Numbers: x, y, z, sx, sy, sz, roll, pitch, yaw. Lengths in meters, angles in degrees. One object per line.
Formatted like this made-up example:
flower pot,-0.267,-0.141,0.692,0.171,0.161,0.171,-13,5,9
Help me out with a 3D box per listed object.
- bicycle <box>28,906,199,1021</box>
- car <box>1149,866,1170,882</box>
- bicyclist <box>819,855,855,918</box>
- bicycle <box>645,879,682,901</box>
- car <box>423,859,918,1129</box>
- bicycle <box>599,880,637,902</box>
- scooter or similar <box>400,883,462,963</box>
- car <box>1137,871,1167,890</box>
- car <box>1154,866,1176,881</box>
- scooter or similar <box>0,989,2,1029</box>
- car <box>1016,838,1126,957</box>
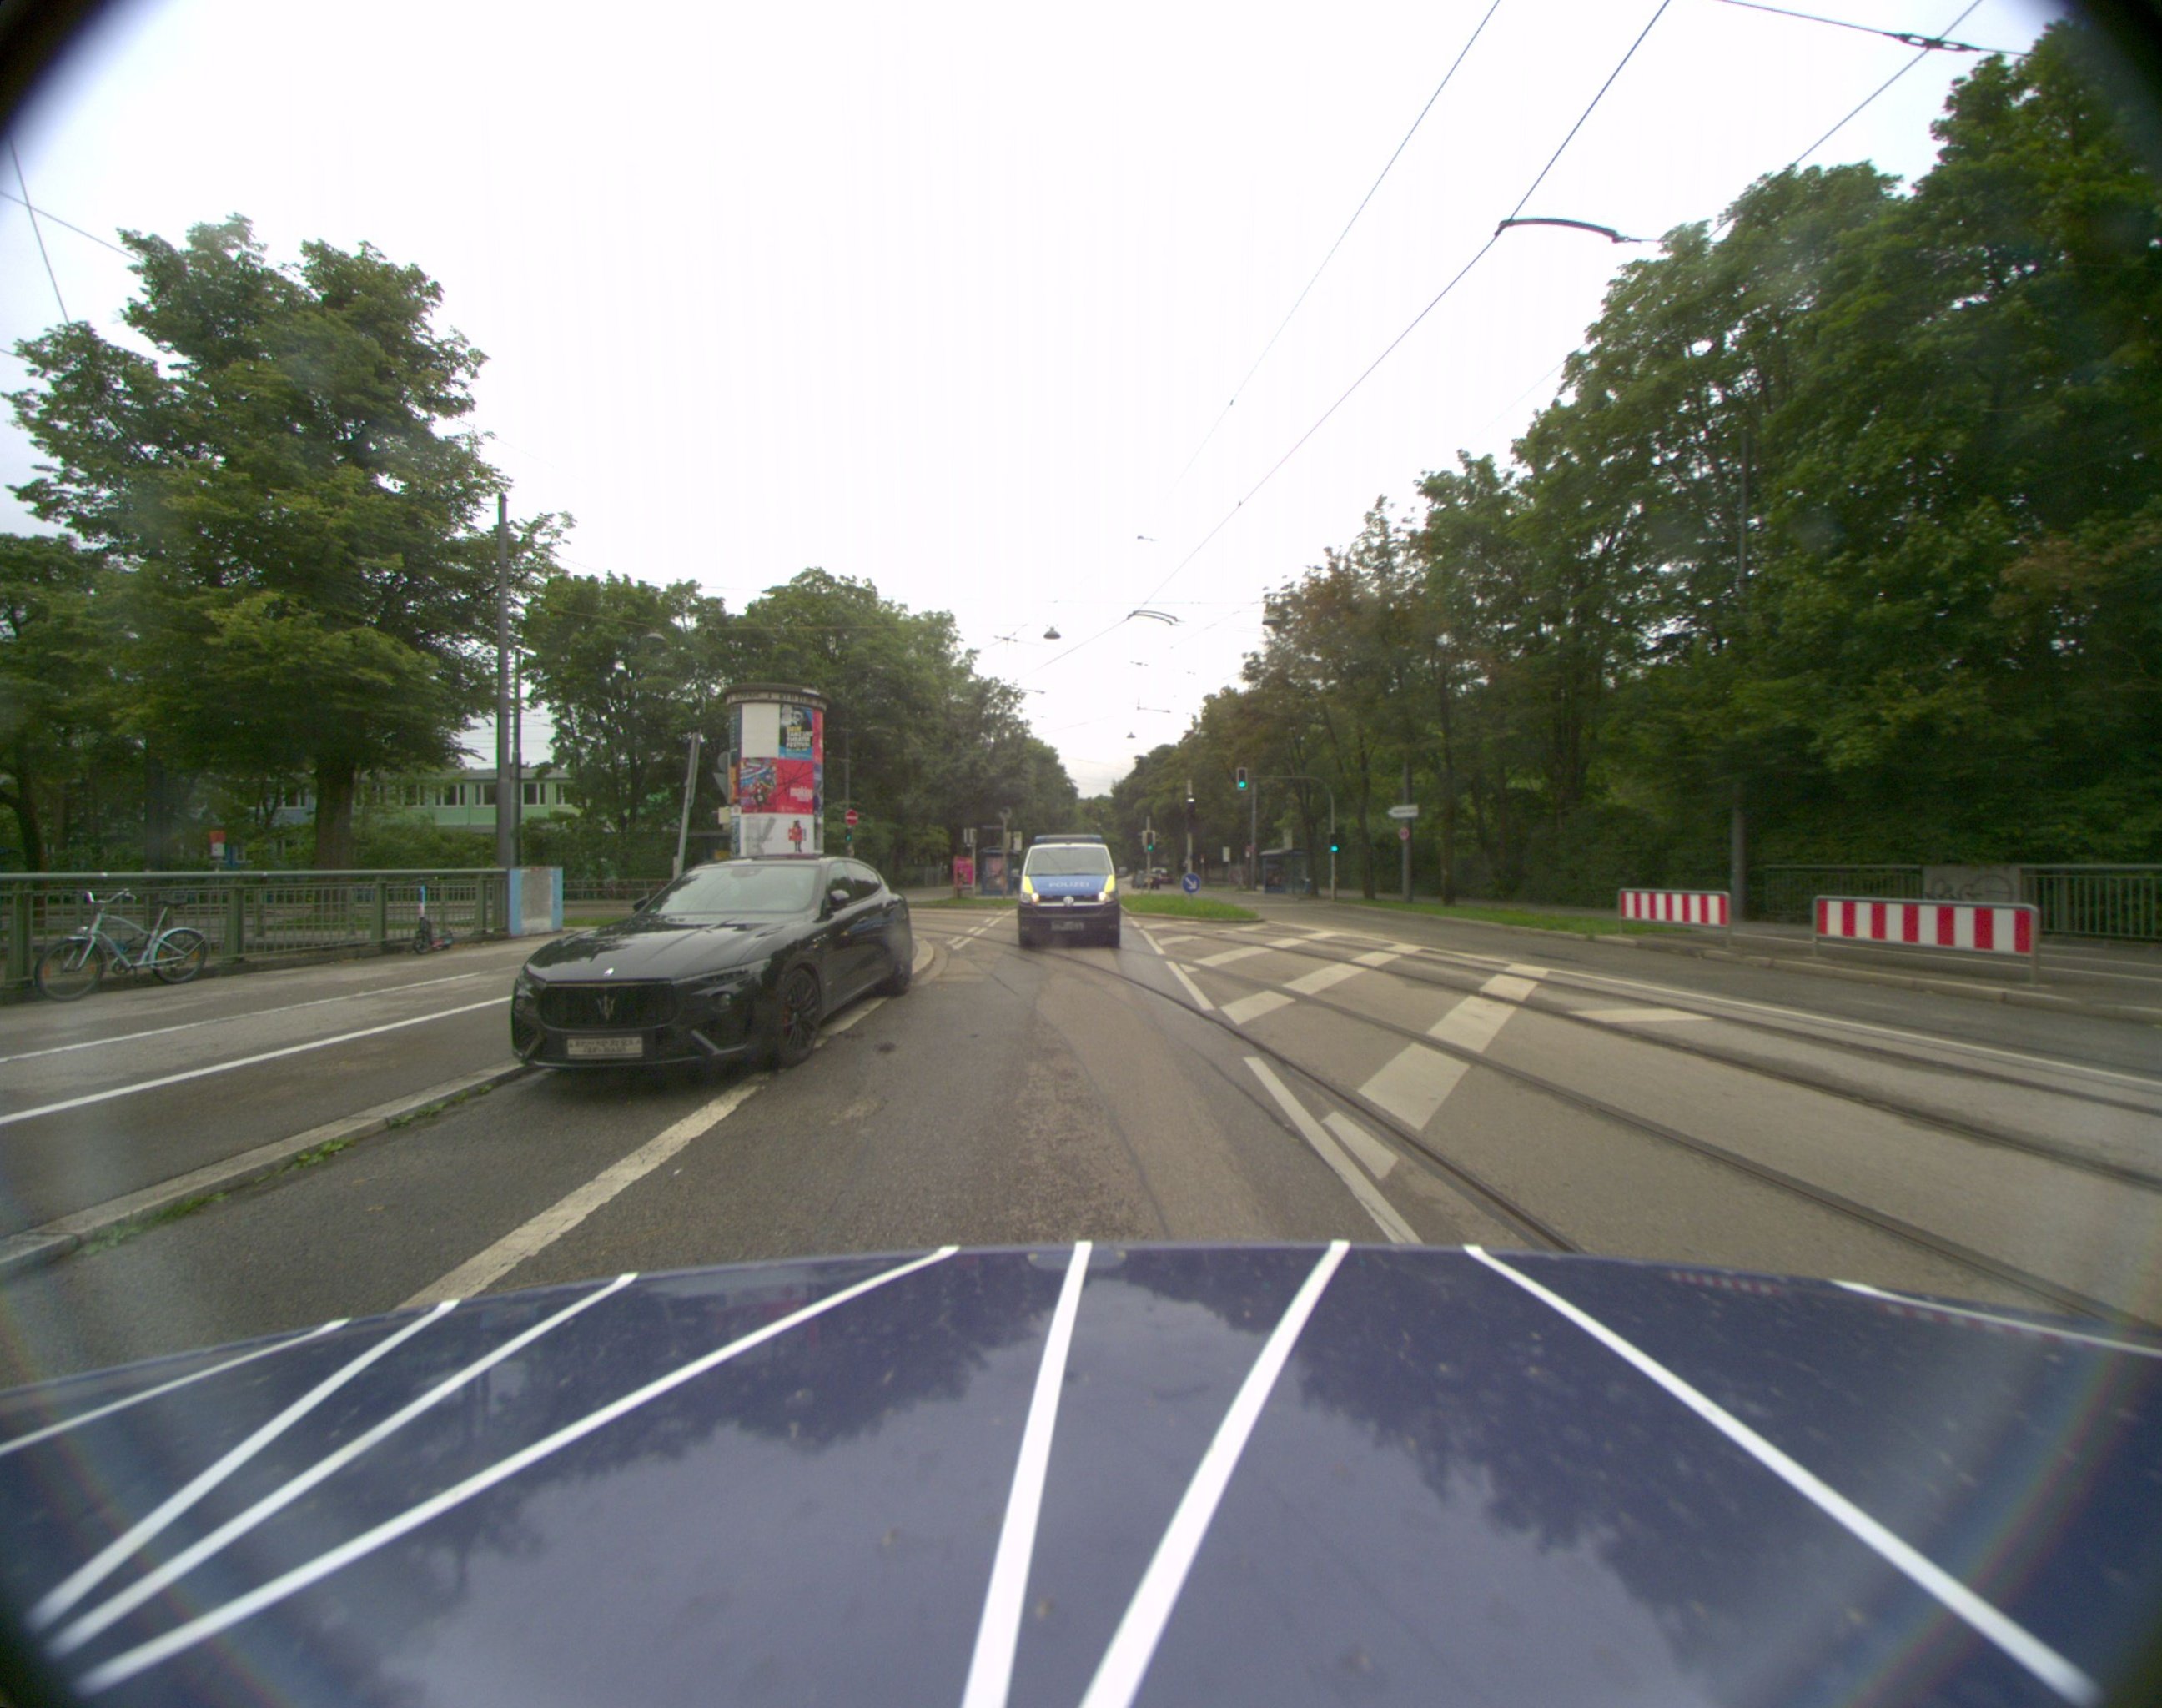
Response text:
bicycle,-10.768,1.170,8.526,0.265,1.075,1.540,-2,0,-14
car,9.252,2.304,89.804,1.888,1.716,3.999,-2,0,-1
bicyclist,-6.864,0.908,21.396,0.726,1.719,0.726,-2,0,0
bicycle,-18.745,1.605,34.118,1.483,0.946,0.373,-1,1,3
car,-3.021,0.894,6.992,1.905,1.600,4.666,-2,-1,1
bicycle,-20.950,1.673,34.376,1.483,0.946,0.373,-1,1,3
scooter or similar,-10.599,1.098,12.415,0.225,1.205,1.020,-2,0,-8
car,5.546,2.080,59.948,1.628,1.380,4.839,2,-1,-3
car,9.333,2.153,84.214,1.888,1.531,3.999,-2,0,-1
scooter or similar,-10.612,1.110,6.824,0.245,1.255,1.493,-2,0,-22
car,-0.221,0.758,15.997,1.903,2.041,5.708,0,0,-1
